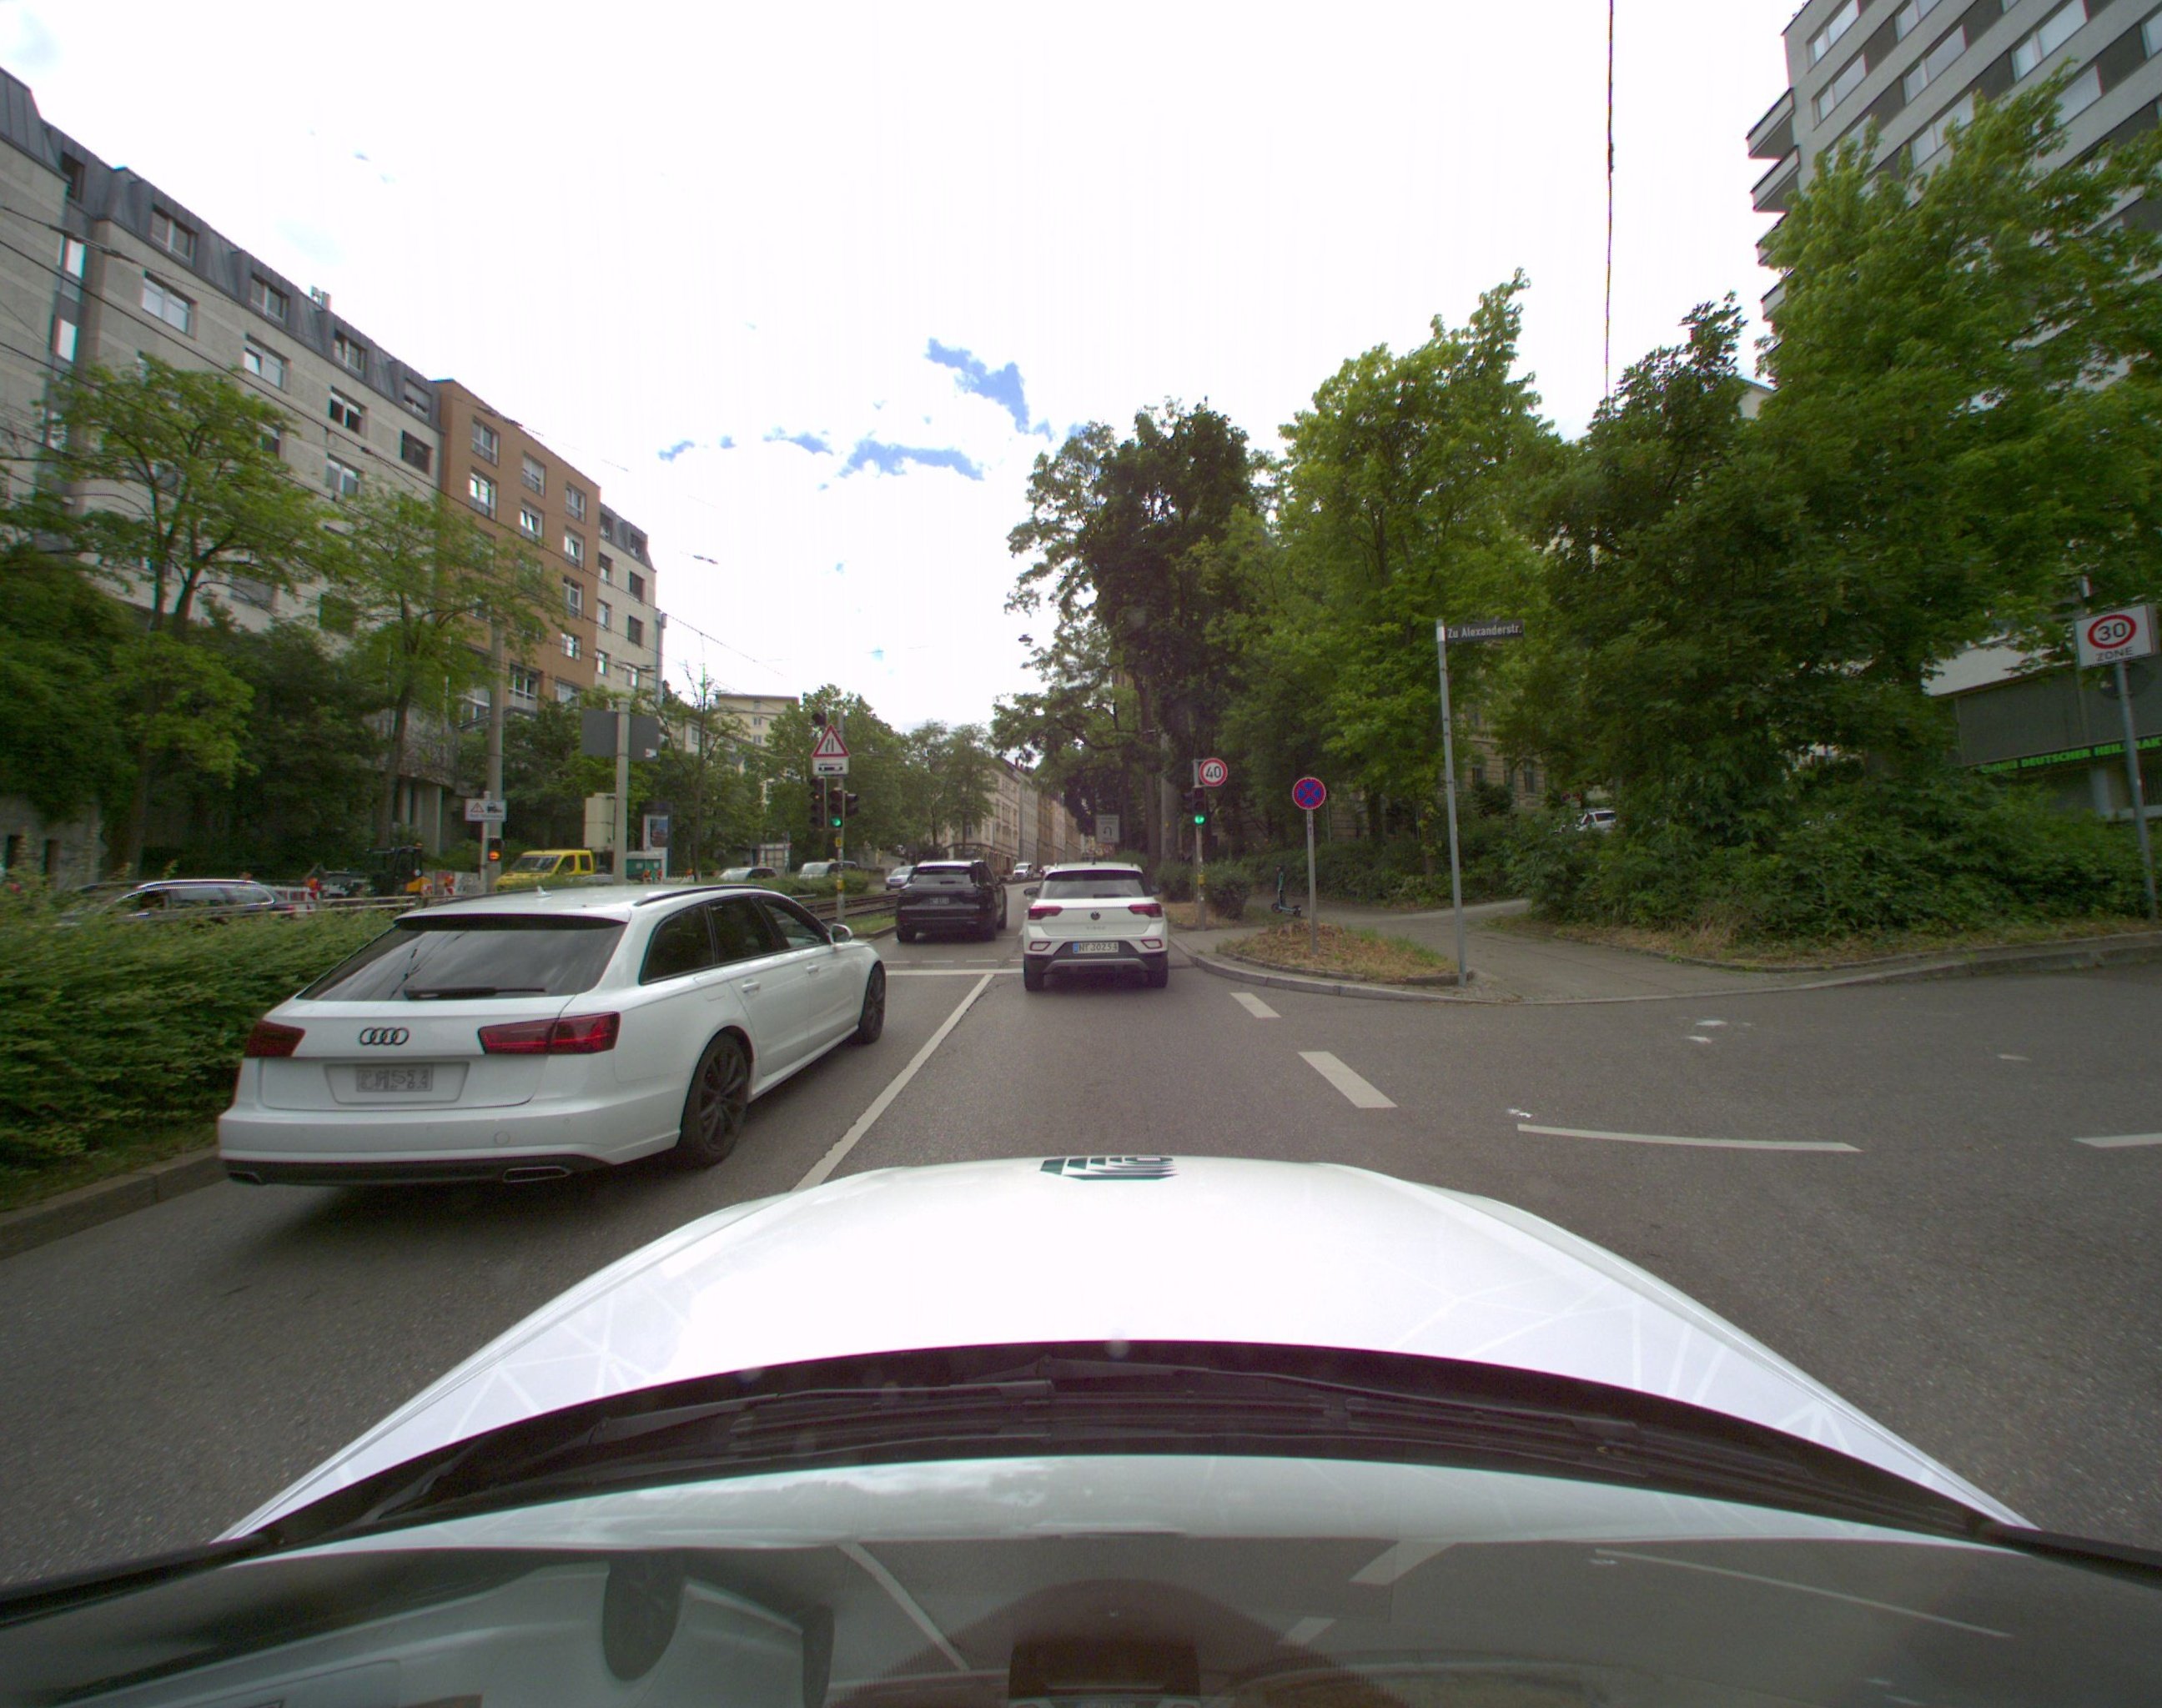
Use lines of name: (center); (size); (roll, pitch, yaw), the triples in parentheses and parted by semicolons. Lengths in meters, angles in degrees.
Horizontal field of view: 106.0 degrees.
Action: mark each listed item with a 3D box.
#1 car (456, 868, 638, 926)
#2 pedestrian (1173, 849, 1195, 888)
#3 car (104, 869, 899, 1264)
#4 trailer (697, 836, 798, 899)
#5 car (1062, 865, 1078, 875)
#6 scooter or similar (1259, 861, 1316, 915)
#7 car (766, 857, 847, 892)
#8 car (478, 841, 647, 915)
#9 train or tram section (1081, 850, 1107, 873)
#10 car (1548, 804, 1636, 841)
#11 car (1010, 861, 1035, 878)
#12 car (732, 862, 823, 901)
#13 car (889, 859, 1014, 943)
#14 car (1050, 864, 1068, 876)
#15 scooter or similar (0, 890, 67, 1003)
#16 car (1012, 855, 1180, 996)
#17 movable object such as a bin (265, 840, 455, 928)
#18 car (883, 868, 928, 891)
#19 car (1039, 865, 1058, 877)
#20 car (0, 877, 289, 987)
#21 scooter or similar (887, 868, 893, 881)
car: (-15.631, 1.198, 24.237); (1.873, 1.435, 4.850); (-3, -1, 4)
pedestrian: (4.589, 0.663, 36.366); (0.770, 1.703, 0.784); (-2, -1, -5)
car: (-2.760, 0.861, 5.442); (1.871, 1.455, 4.619); (-1, -1, 2)
trailer: (-16.656, 0.672, 41.065); (2.007, 2.973, 5.604); (0, -1, 10)
car: (-1.723, 2.470, 128.360); (1.984, 1.552, 4.006); (-2, -1, 6)
scooter or similar: (4.895, 0.787, 19.404); (0.631, 1.210, 1.550); (-2, -1, -13)
car: (-13.738, 0.981, 41.041); (1.983, 1.605, 4.619); (-2, -1, 7)
car: (-20.406, 0.892, 32.533); (2.146, 2.594, 6.346); (-2, -1, 6)
train or tram section: (2.293, 1.282, 138.204); (2.867, 3.726, 14.882); (0, -1, 7)
car: (33.274, -2.058, 53.054); (5.224, 1.933, 2.161); (-4, -2, -24)
car: (-6.773, 1.776, 94.738); (1.937, 1.946, 5.012); (-1, 0, 7)
car: (-13.917, 1.213, 37.642); (1.983, 1.605, 4.629); (-2, -1, 7)
car: (-2.672, 0.925, 17.853); (2.031, 1.571, 4.357); (-1, -1, 0)
car: (-3.166, 2.330, 118.714); (1.984, 1.552, 4.006); (-2, -1, 6)
scooter or similar: (-13.159, 1.106, 9.537); (1.502, 1.296, 0.528); (-1, -1, -29)
car: (0.118, 0.837, 11.248); (1.874, 1.555, 3.997); (-1, -1, -2)
movable object such as a bin: (-21.822, 0.843, 24.905); (1.923, 2.467, 4.104); (0, 0, 6)
car: (-11.643, 1.667, 54.165); (1.649, 1.443, 3.748); (-2, -1, 8)
car: (-4.443, 2.260, 111.309); (1.984, 1.552, 4.006); (-2, -1, 6)
car: (-15.926, 1.173, 13.405); (1.772, 1.462, 4.001); (-2, -1, 1)
scooter or similar: (-18.092, 1.937, 77.271); (0.490, 1.219, 1.634); (1, -2, -12)
